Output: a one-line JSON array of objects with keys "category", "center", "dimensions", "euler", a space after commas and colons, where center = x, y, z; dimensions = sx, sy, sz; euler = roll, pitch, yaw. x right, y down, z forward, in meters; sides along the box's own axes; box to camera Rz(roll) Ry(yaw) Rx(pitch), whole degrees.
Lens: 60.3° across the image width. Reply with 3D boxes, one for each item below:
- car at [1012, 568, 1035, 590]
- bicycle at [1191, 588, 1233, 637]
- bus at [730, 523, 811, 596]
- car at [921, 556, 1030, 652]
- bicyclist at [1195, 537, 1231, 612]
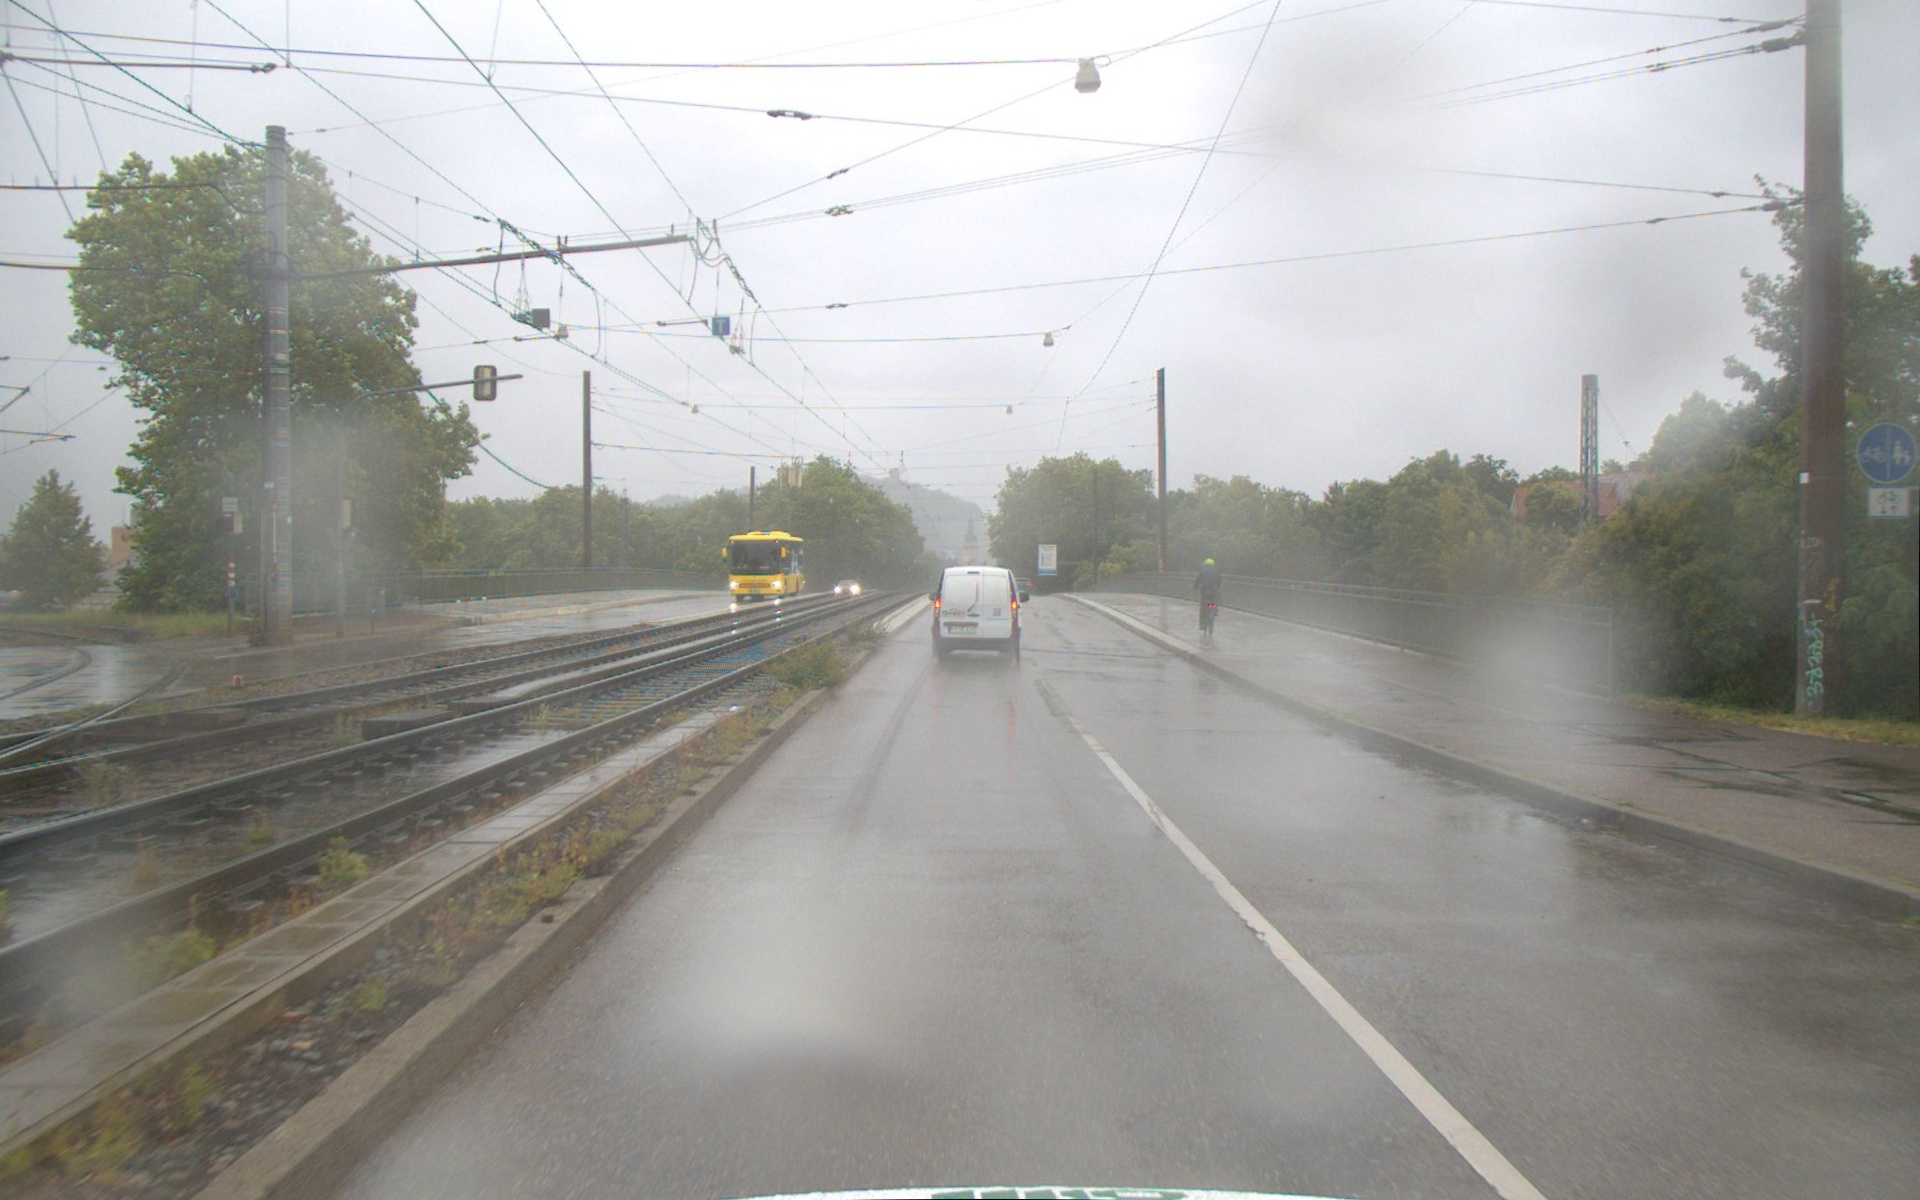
[{"category": "car", "center": [4.630, -1.509, 121.042], "dimensions": [1.422, 1.525, 2.980], "euler": [2, 0, -3]}, {"category": "bicycle", "center": [6.194, 0.295, 40.683], "dimensions": [0.708, 1.148, 2.168], "euler": [2, 1, 1]}, {"category": "bus", "center": [-9.560, -2.150, 84.620], "dimensions": [2.652, 3.398, 10.996], "euler": [-1, 2, 1]}, {"category": "car", "center": [0.375, 0.076, 33.199], "dimensions": [1.952, 1.756, 4.001], "euler": [2, 0, 3]}, {"category": "bicyclist", "center": [6.223, -0.627, 40.659], "dimensions": [0.710, 1.794, 0.949], "euler": [2, 0, 1]}]
